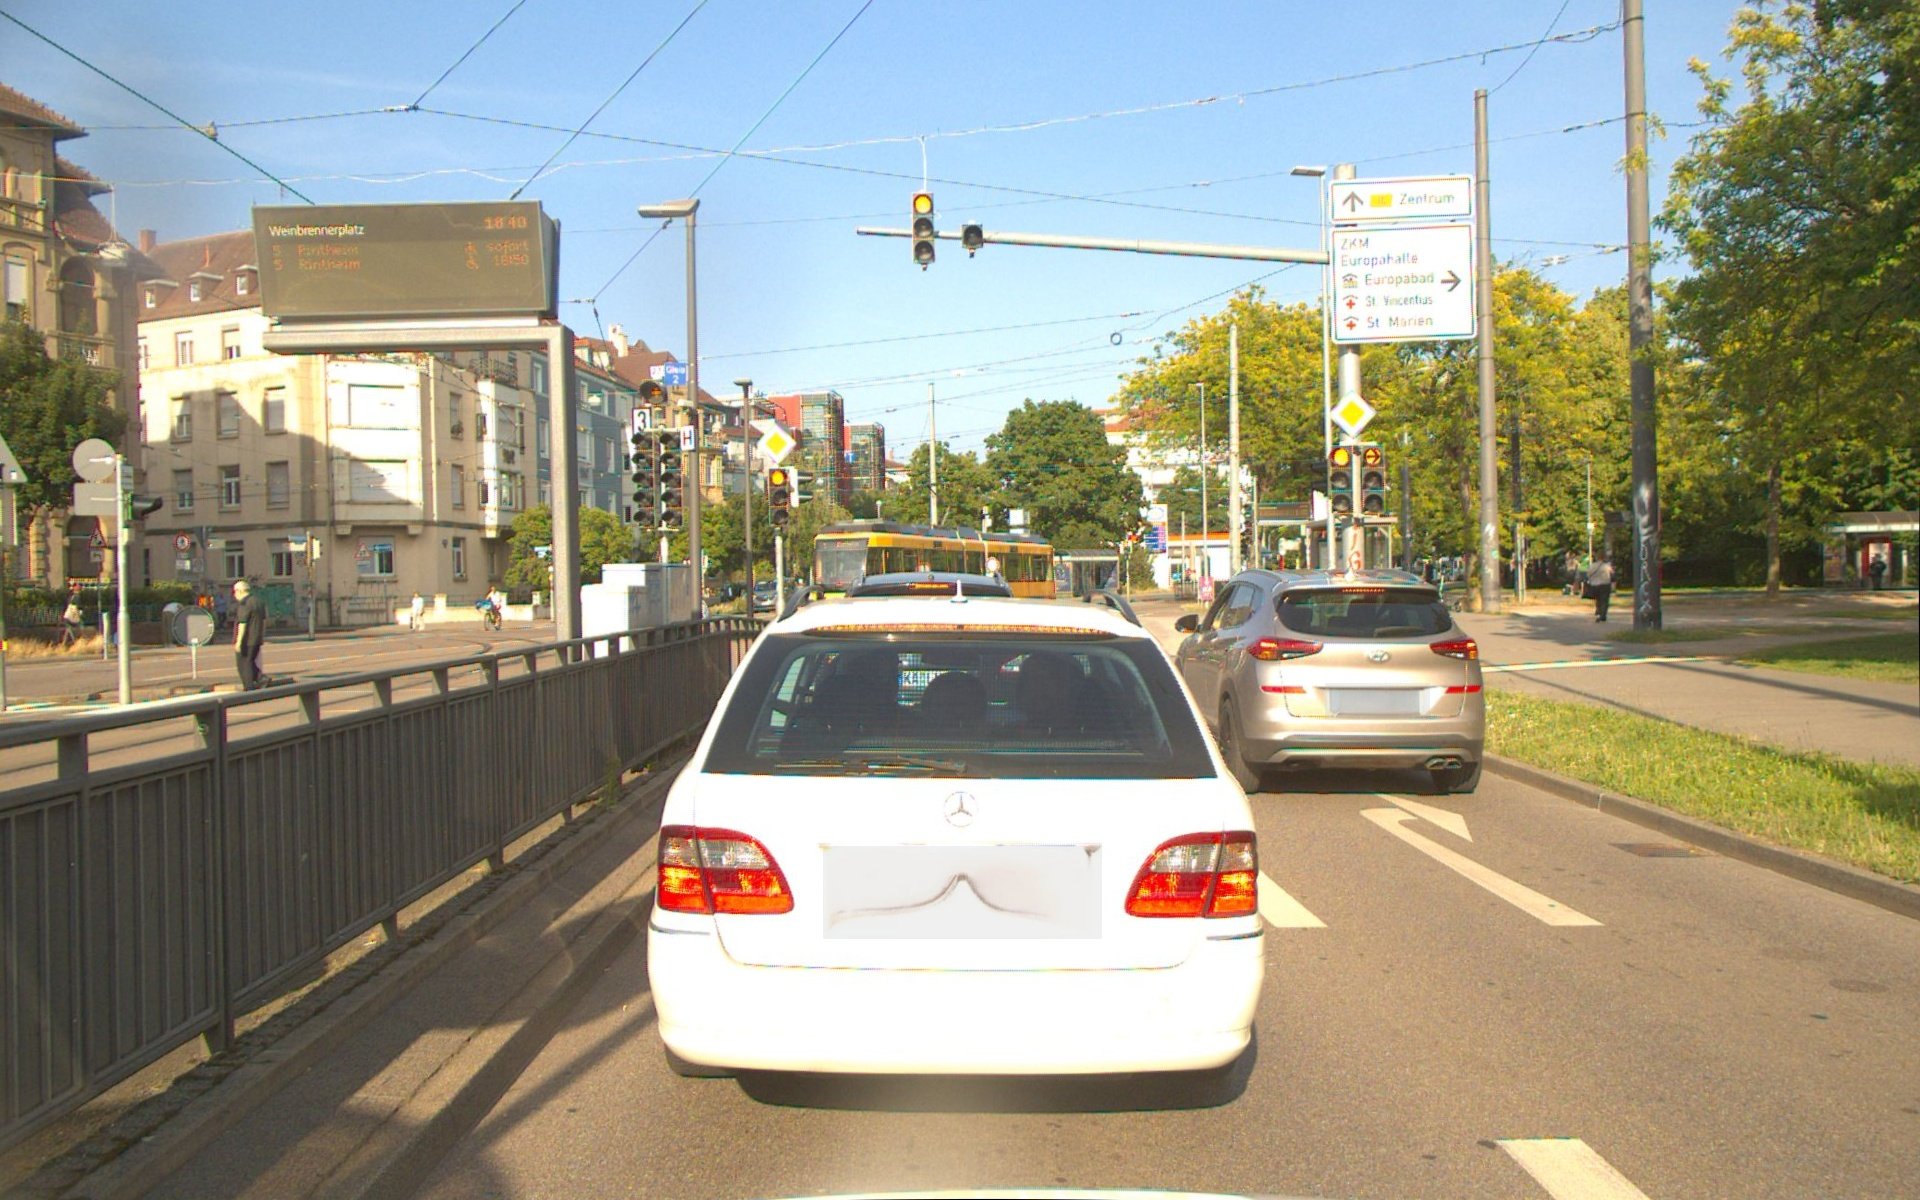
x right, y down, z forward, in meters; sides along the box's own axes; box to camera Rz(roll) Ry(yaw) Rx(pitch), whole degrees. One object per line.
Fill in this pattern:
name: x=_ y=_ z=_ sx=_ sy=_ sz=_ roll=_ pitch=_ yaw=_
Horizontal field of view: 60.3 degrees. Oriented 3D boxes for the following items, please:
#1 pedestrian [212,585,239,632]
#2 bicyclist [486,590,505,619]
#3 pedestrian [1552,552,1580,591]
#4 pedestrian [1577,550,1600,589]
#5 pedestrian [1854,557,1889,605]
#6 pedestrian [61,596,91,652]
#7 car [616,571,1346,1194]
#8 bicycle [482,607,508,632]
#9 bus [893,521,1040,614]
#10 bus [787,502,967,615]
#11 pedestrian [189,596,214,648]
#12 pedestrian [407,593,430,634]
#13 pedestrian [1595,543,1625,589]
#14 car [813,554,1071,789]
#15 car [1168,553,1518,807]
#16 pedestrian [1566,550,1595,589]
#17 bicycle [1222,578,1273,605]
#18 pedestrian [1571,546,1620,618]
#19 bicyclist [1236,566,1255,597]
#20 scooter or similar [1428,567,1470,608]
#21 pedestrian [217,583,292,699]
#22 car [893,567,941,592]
pedestrian: x=-33.015 y=0.379 z=74.338 sx=0.758 sy=2.049 sz=0.787 roll=-1 pitch=0 yaw=14
bicyclist: x=-17.227 y=0.174 z=61.340 sx=0.502 sy=1.062 sz=0.679 roll=-1 pitch=0 yaw=-1
pedestrian: x=23.881 y=-1.137 z=65.169 sx=0.809 sy=1.513 sz=0.690 roll=-2 pitch=0 yaw=-42
pedestrian: x=24.430 y=-1.182 z=64.275 sx=0.796 sy=1.513 sz=0.700 roll=-1 pitch=0 yaw=24
pedestrian: x=32.367 y=-0.679 z=58.720 sx=0.818 sy=1.665 sz=0.803 roll=-1 pitch=0 yaw=5
pedestrian: x=-24.369 y=0.651 z=45.612 sx=0.428 sy=1.527 sz=0.549 roll=-1 pitch=0 yaw=14
car: x=0.025 y=0.661 z=5.814 sx=1.759 sy=1.496 sz=3.647 roll=0 pitch=1 yaw=-1
bicycle: x=-17.205 y=0.721 z=61.219 sx=0.515 sy=0.849 sz=1.686 roll=-1 pitch=1 yaw=-1
bus: x=0.533 y=-1.290 z=71.936 sx=3.043 sy=3.669 sz=12.599 roll=1 pitch=0 yaw=16
bus: x=-2.688 y=-1.338 z=59.838 sx=3.042 sy=3.669 sz=12.384 roll=1 pitch=0 yaw=14
pedestrian: x=-22.878 y=0.666 z=49.865 sx=0.523 sy=1.527 sz=0.389 roll=-1 pitch=0 yaw=14
pedestrian: x=-20.806 y=0.508 z=63.609 sx=0.616 sy=1.568 sz=0.711 roll=-1 pitch=0 yaw=-1
pedestrian: x=25.706 y=-1.336 z=65.453 sx=0.784 sy=1.816 sz=0.838 roll=-1 pitch=0 yaw=-5
car: x=-0.153 y=0.501 z=13.788 sx=1.846 sy=1.680 sz=3.647 roll=1 pitch=1 yaw=-1
car: x=2.844 y=0.527 z=13.110 sx=1.846 sy=1.680 sz=3.647 roll=-2 pitch=1 yaw=-1
pedestrian: x=24.687 y=-1.206 z=65.791 sx=0.799 sy=1.513 sz=0.698 roll=-2 pitch=0 yaw=-12
bicycle: x=14.283 y=-0.423 z=82.161 sx=2.430 sy=1.234 sz=0.807 roll=-1 pitch=0 yaw=7
pedestrian: x=15.016 y=-0.429 z=39.097 sx=0.748 sy=1.665 sz=0.797 roll=-2 pitch=0 yaw=-40
bicyclist: x=14.180 y=-0.940 z=82.168 sx=0.842 sy=1.507 sz=0.790 roll=-1 pitch=0 yaw=7
scooter or similar: x=13.803 y=-0.349 z=46.719 sx=0.413 sy=1.136 sz=1.322 roll=-2 pitch=1 yaw=-20
pedestrian: x=-10.542 y=0.598 z=24.715 sx=0.788 sy=1.674 sz=0.745 roll=-2 pitch=1 yaw=-45
car: x=-3.557 y=-1.677 z=135.686 sx=3.906 sy=2.049 sz=1.999 roll=1 pitch=0 yaw=-2
